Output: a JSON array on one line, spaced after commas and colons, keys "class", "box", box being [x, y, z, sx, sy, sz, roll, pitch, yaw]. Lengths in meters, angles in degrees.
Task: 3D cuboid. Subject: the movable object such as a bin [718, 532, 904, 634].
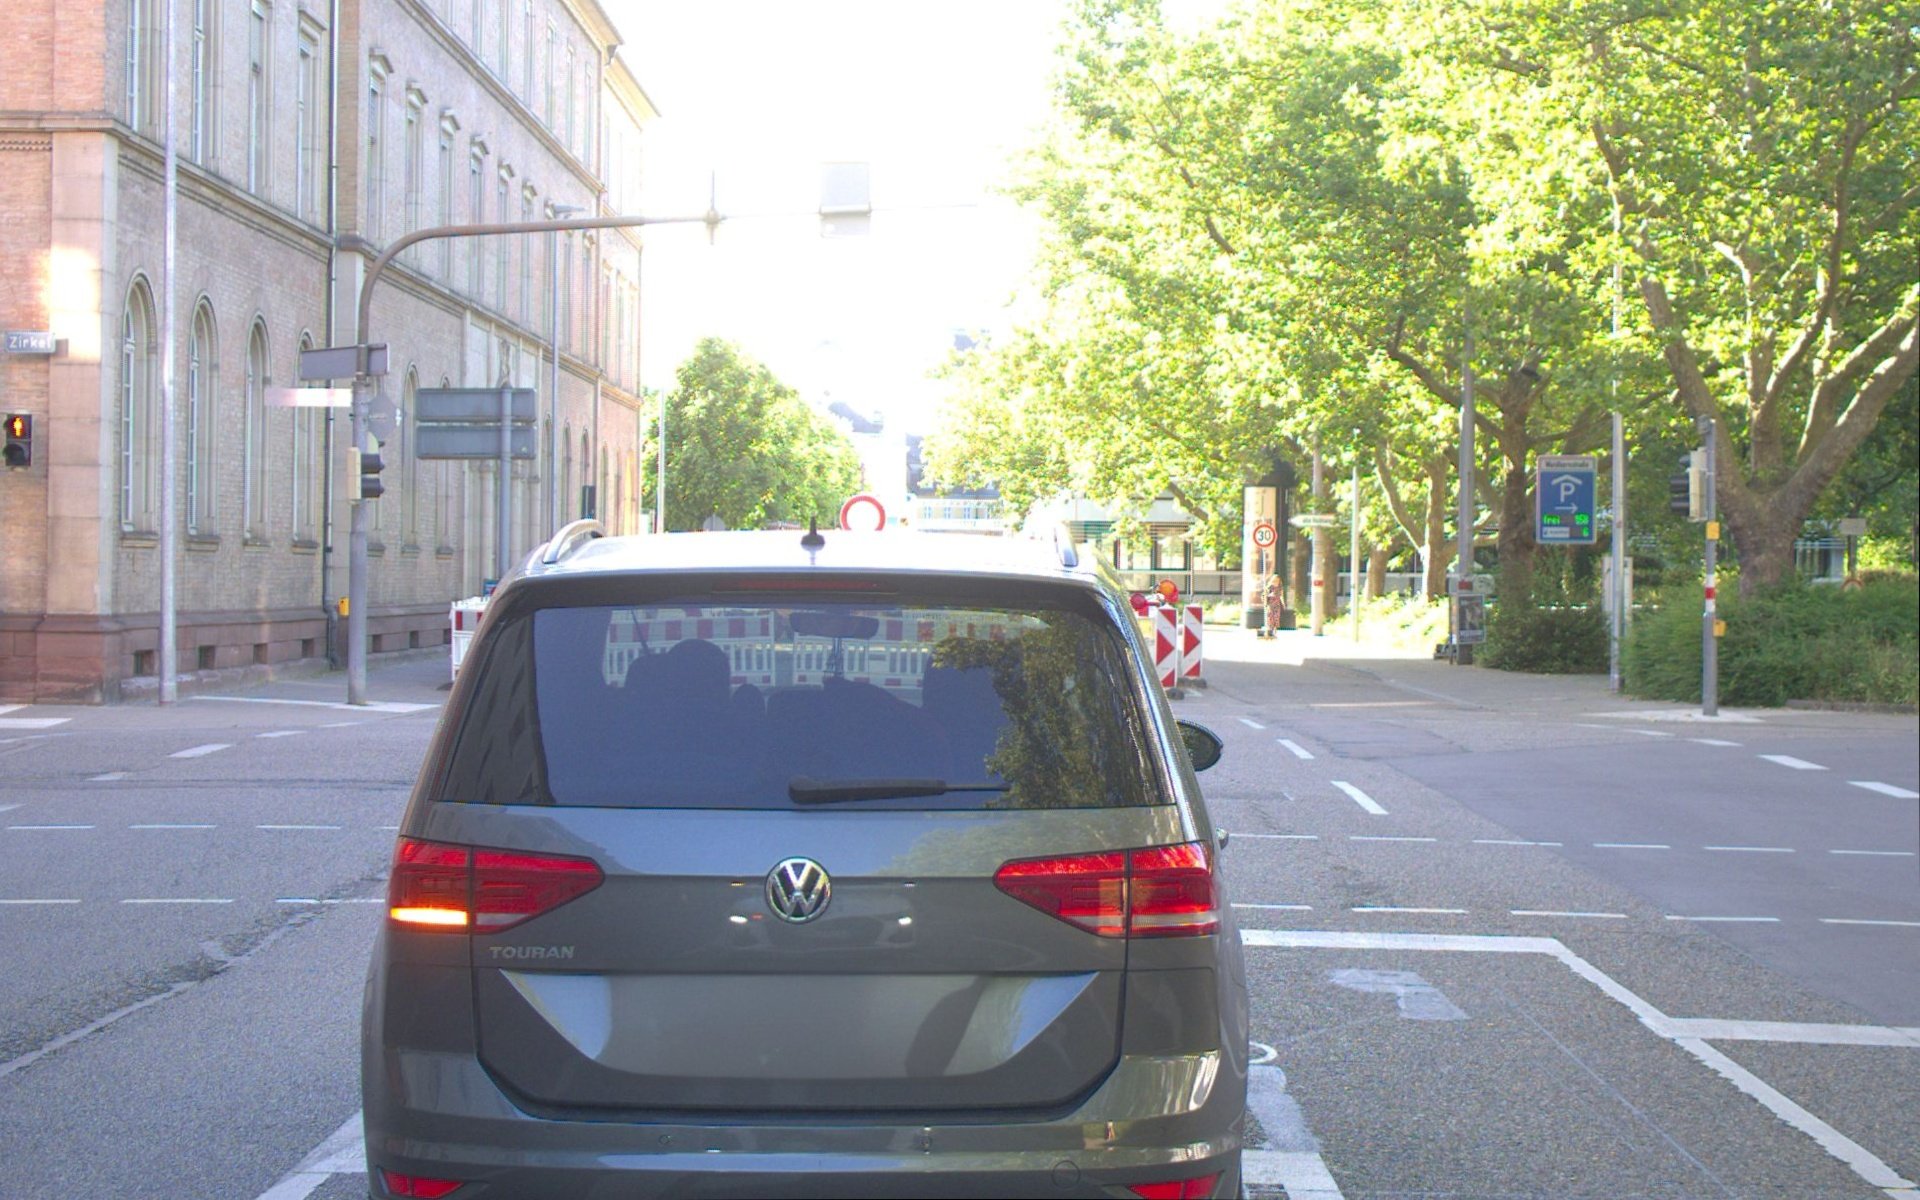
[{"class": "movable object such as a bin", "box": [-4.192, -0.489, 96.140, 4.838, 2.767, 2.467, 1, 0, 43]}]

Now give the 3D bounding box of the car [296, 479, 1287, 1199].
[{"class": "car", "box": [-0.333, 0.572, 8.179, 1.762, 1.601, 4.000, 1, 1, -1]}]

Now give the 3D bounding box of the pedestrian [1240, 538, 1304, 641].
[{"class": "pedestrian", "box": [8.175, -0.282, 90.155, 1.419, 2.658, 1.148, 1, 0, -8]}]
